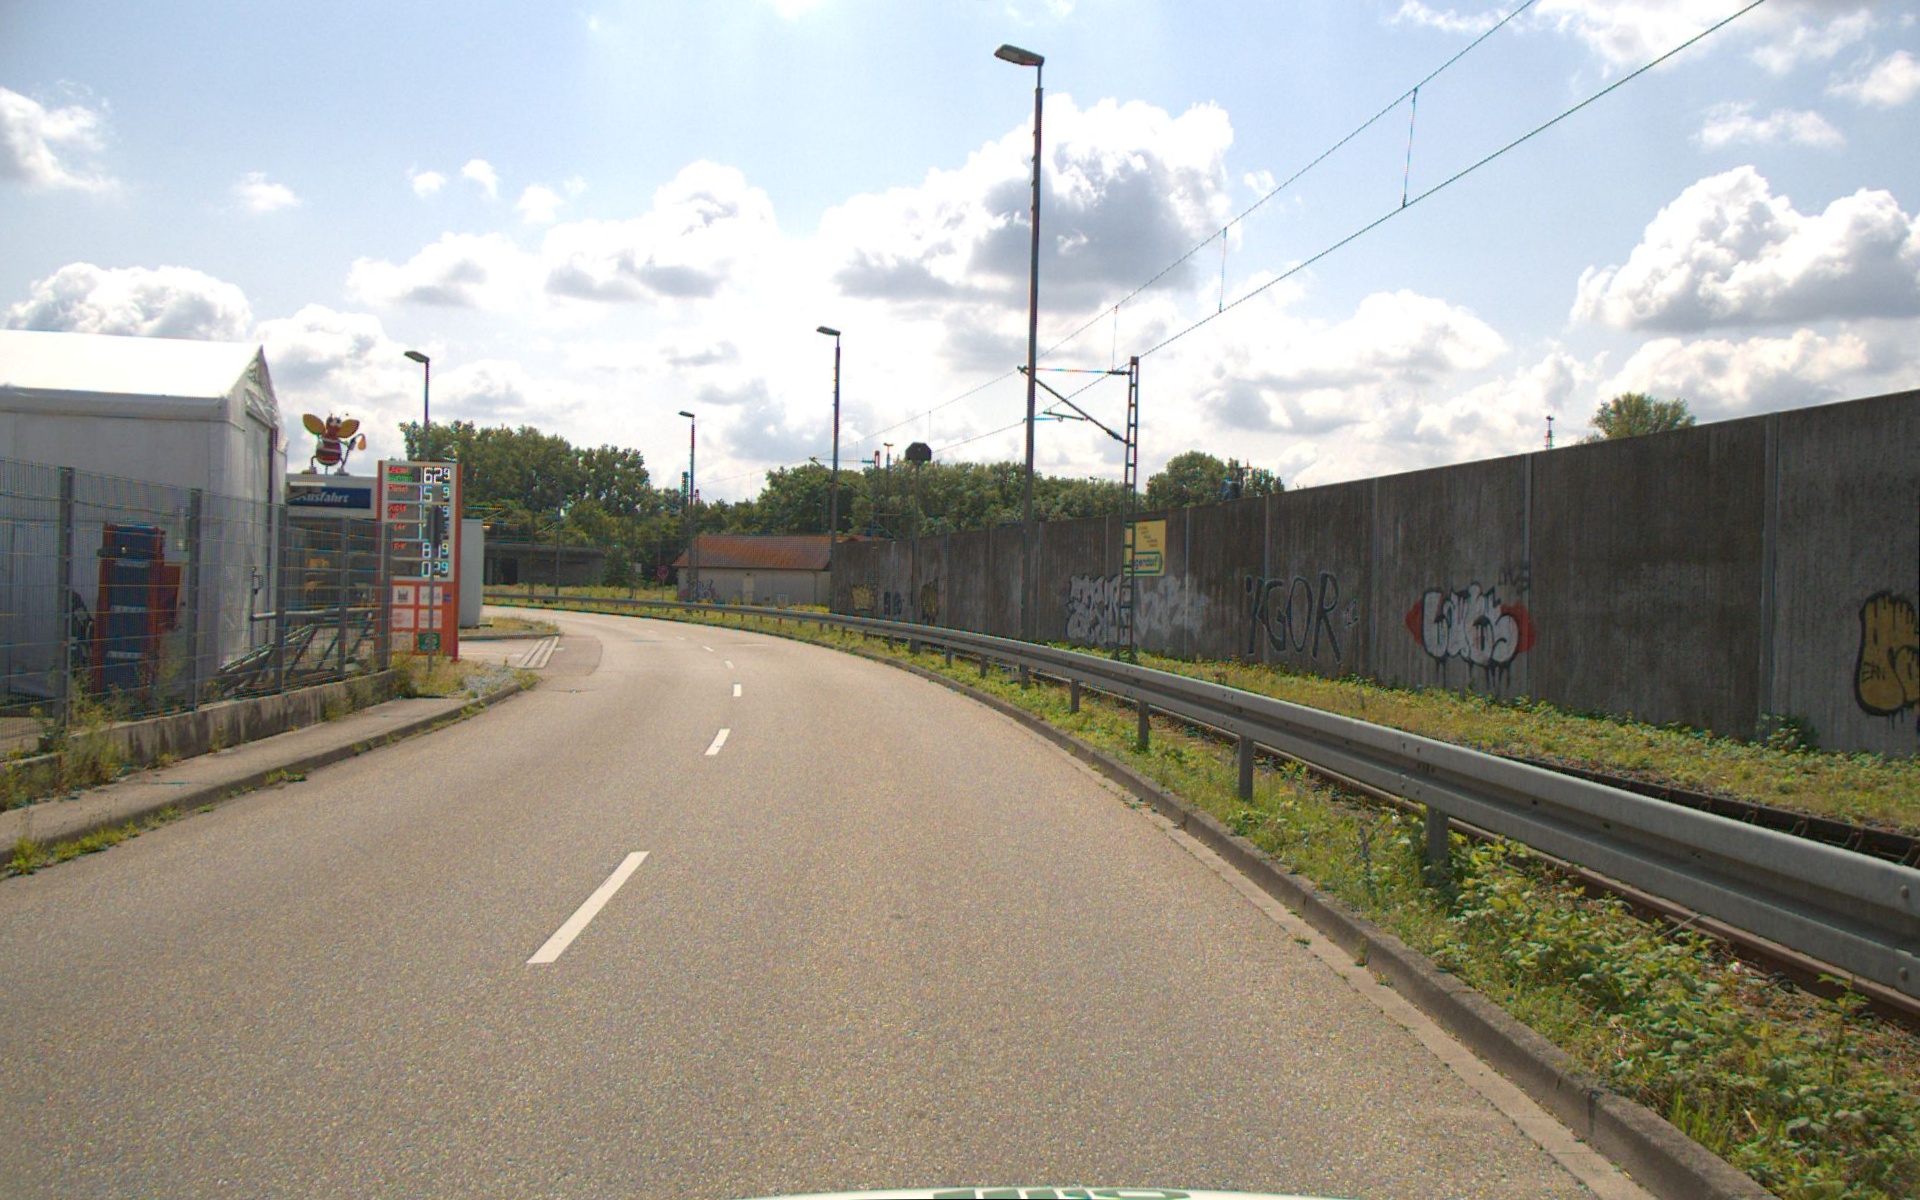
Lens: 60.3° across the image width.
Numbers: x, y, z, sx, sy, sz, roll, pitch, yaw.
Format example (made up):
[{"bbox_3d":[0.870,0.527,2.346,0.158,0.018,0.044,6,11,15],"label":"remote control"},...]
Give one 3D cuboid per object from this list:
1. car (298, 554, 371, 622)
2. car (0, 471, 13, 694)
[{"bbox_3d":[-20.958,-0.396,55.617,1.962,2.146,4.985,1,0,-18],"label":"car"},{"bbox_3d":[-10.796,-0.203,13.970,4.488,2.062,2.047,1,-1,-20],"label":"car"}]
